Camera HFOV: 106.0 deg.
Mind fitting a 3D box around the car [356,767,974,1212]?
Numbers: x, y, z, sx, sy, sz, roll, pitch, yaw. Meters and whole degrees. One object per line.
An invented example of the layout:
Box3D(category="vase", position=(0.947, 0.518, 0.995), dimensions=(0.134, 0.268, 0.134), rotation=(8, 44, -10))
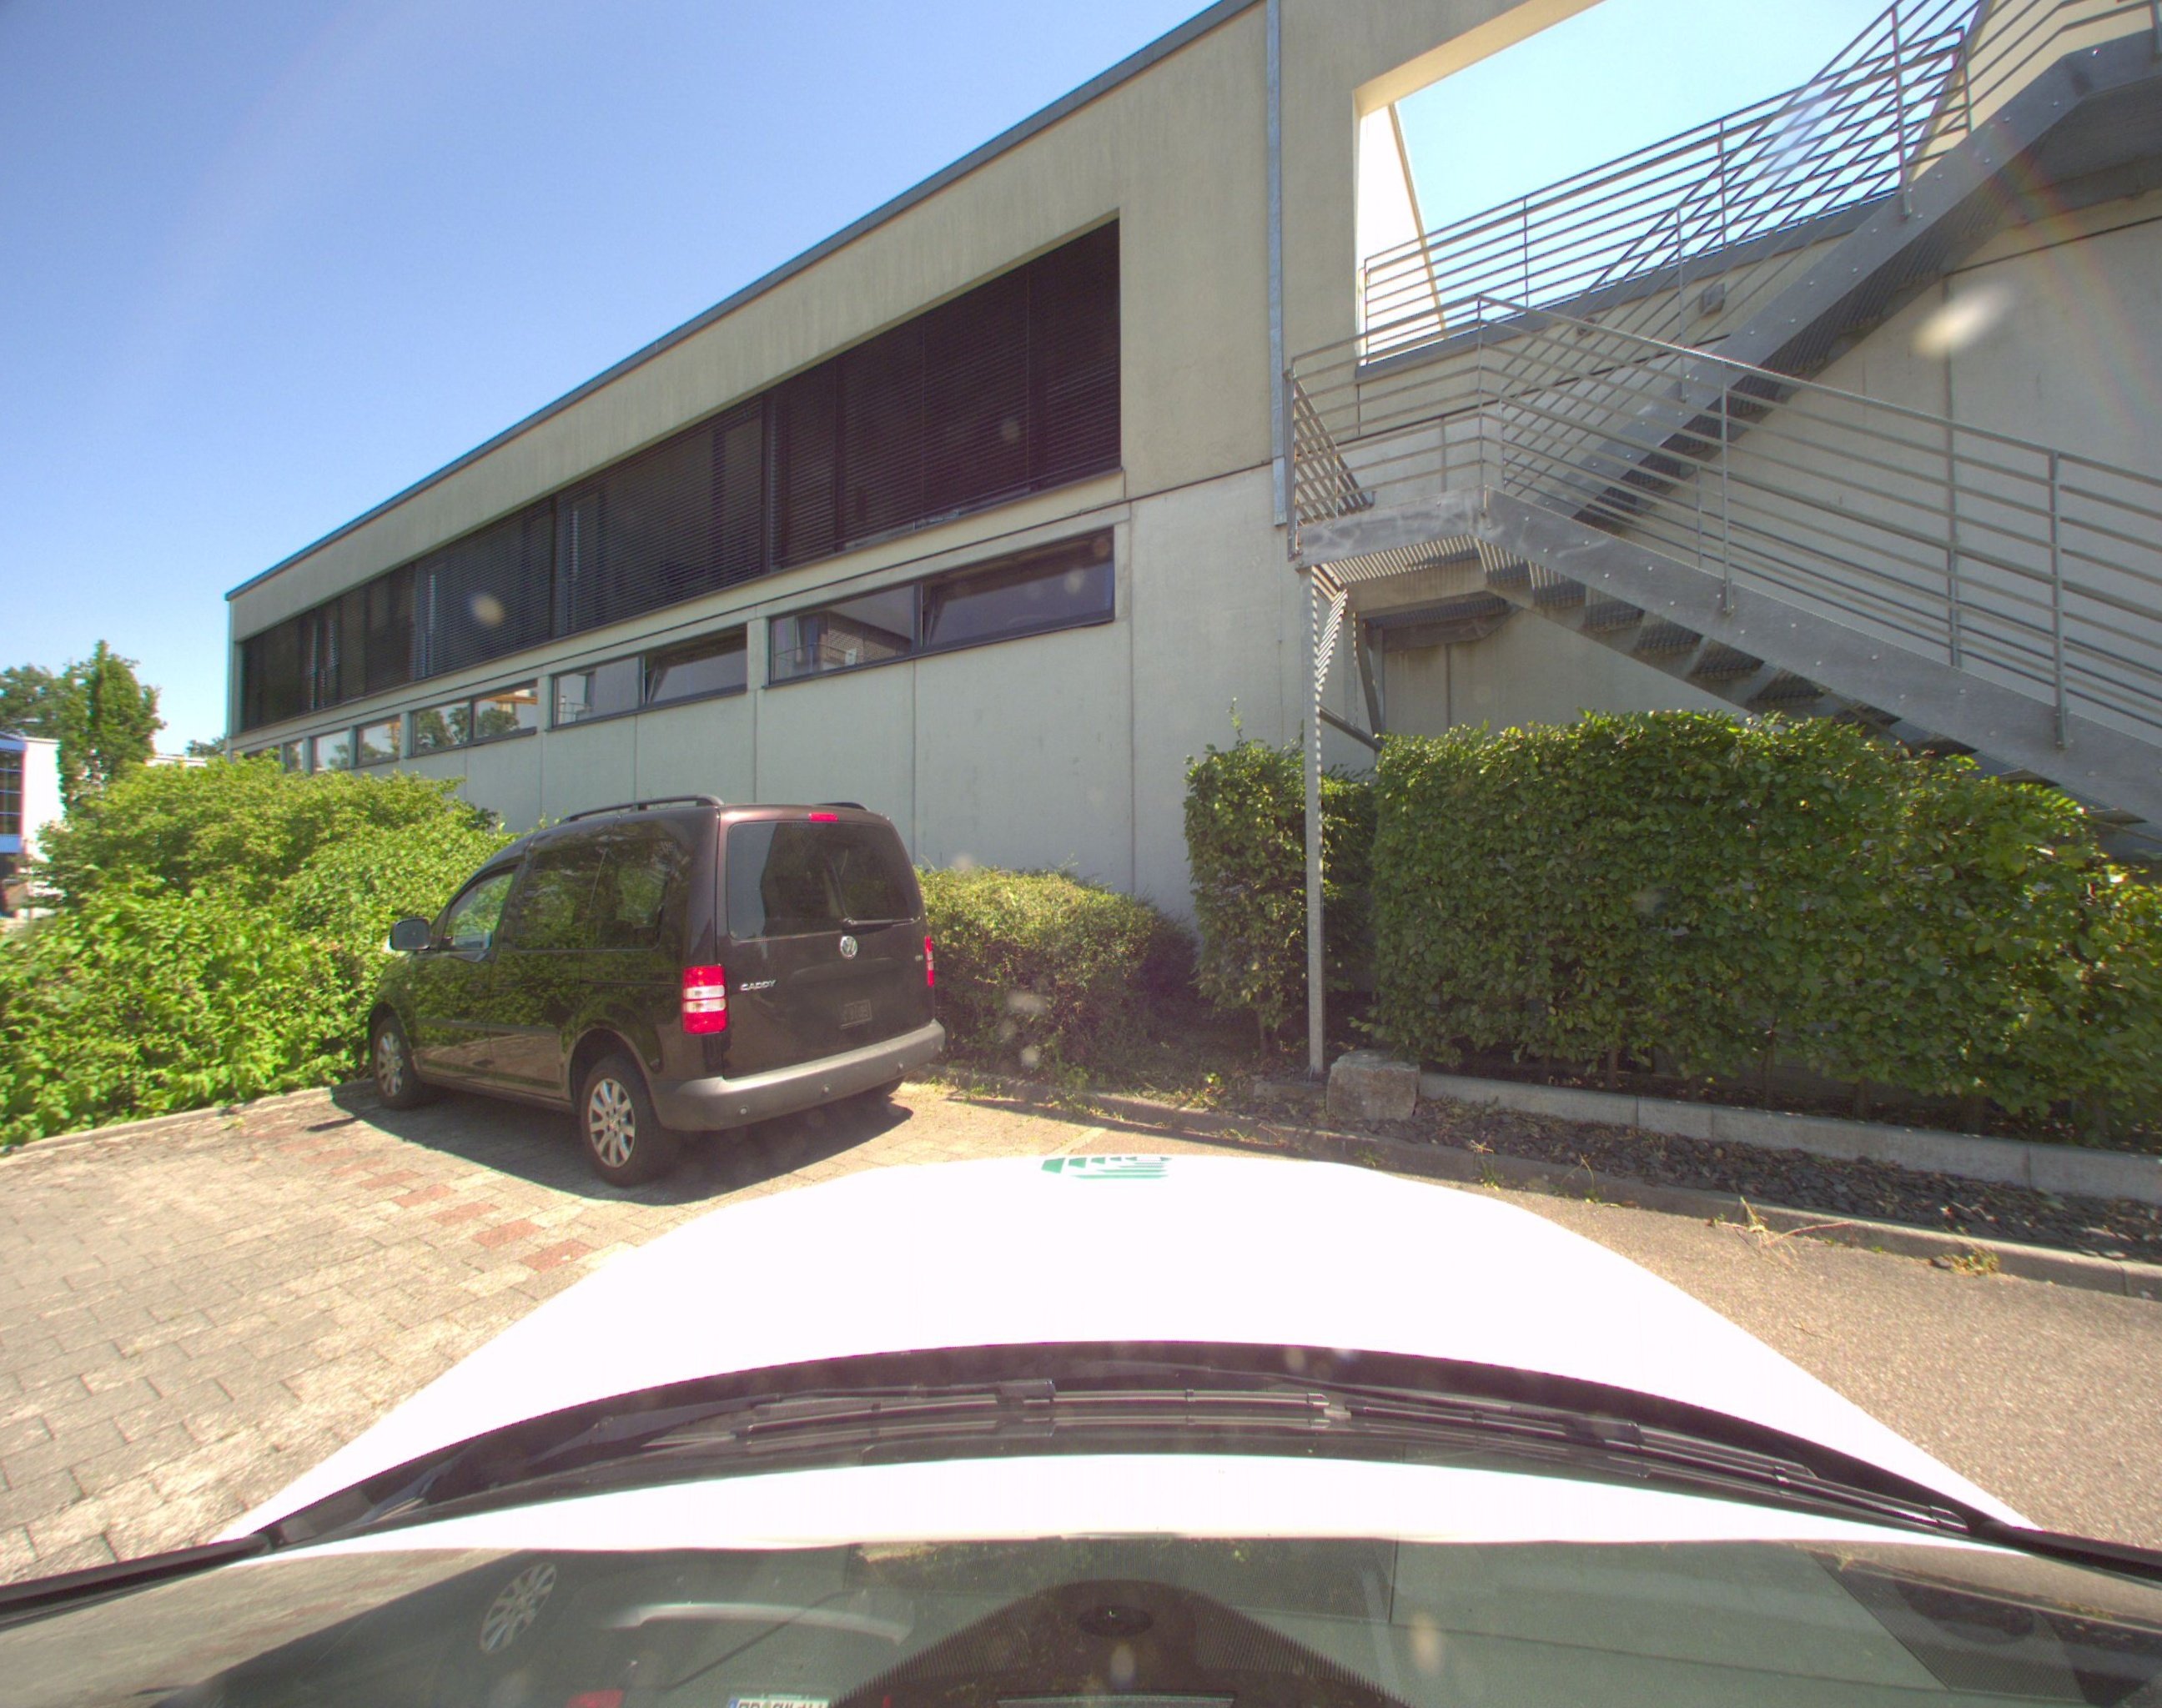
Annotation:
Box3D(category="car", position=(-2.810, 0.604, 5.233), dimensions=(4.019, 1.884, 1.689), rotation=(-1, -1, 32))
